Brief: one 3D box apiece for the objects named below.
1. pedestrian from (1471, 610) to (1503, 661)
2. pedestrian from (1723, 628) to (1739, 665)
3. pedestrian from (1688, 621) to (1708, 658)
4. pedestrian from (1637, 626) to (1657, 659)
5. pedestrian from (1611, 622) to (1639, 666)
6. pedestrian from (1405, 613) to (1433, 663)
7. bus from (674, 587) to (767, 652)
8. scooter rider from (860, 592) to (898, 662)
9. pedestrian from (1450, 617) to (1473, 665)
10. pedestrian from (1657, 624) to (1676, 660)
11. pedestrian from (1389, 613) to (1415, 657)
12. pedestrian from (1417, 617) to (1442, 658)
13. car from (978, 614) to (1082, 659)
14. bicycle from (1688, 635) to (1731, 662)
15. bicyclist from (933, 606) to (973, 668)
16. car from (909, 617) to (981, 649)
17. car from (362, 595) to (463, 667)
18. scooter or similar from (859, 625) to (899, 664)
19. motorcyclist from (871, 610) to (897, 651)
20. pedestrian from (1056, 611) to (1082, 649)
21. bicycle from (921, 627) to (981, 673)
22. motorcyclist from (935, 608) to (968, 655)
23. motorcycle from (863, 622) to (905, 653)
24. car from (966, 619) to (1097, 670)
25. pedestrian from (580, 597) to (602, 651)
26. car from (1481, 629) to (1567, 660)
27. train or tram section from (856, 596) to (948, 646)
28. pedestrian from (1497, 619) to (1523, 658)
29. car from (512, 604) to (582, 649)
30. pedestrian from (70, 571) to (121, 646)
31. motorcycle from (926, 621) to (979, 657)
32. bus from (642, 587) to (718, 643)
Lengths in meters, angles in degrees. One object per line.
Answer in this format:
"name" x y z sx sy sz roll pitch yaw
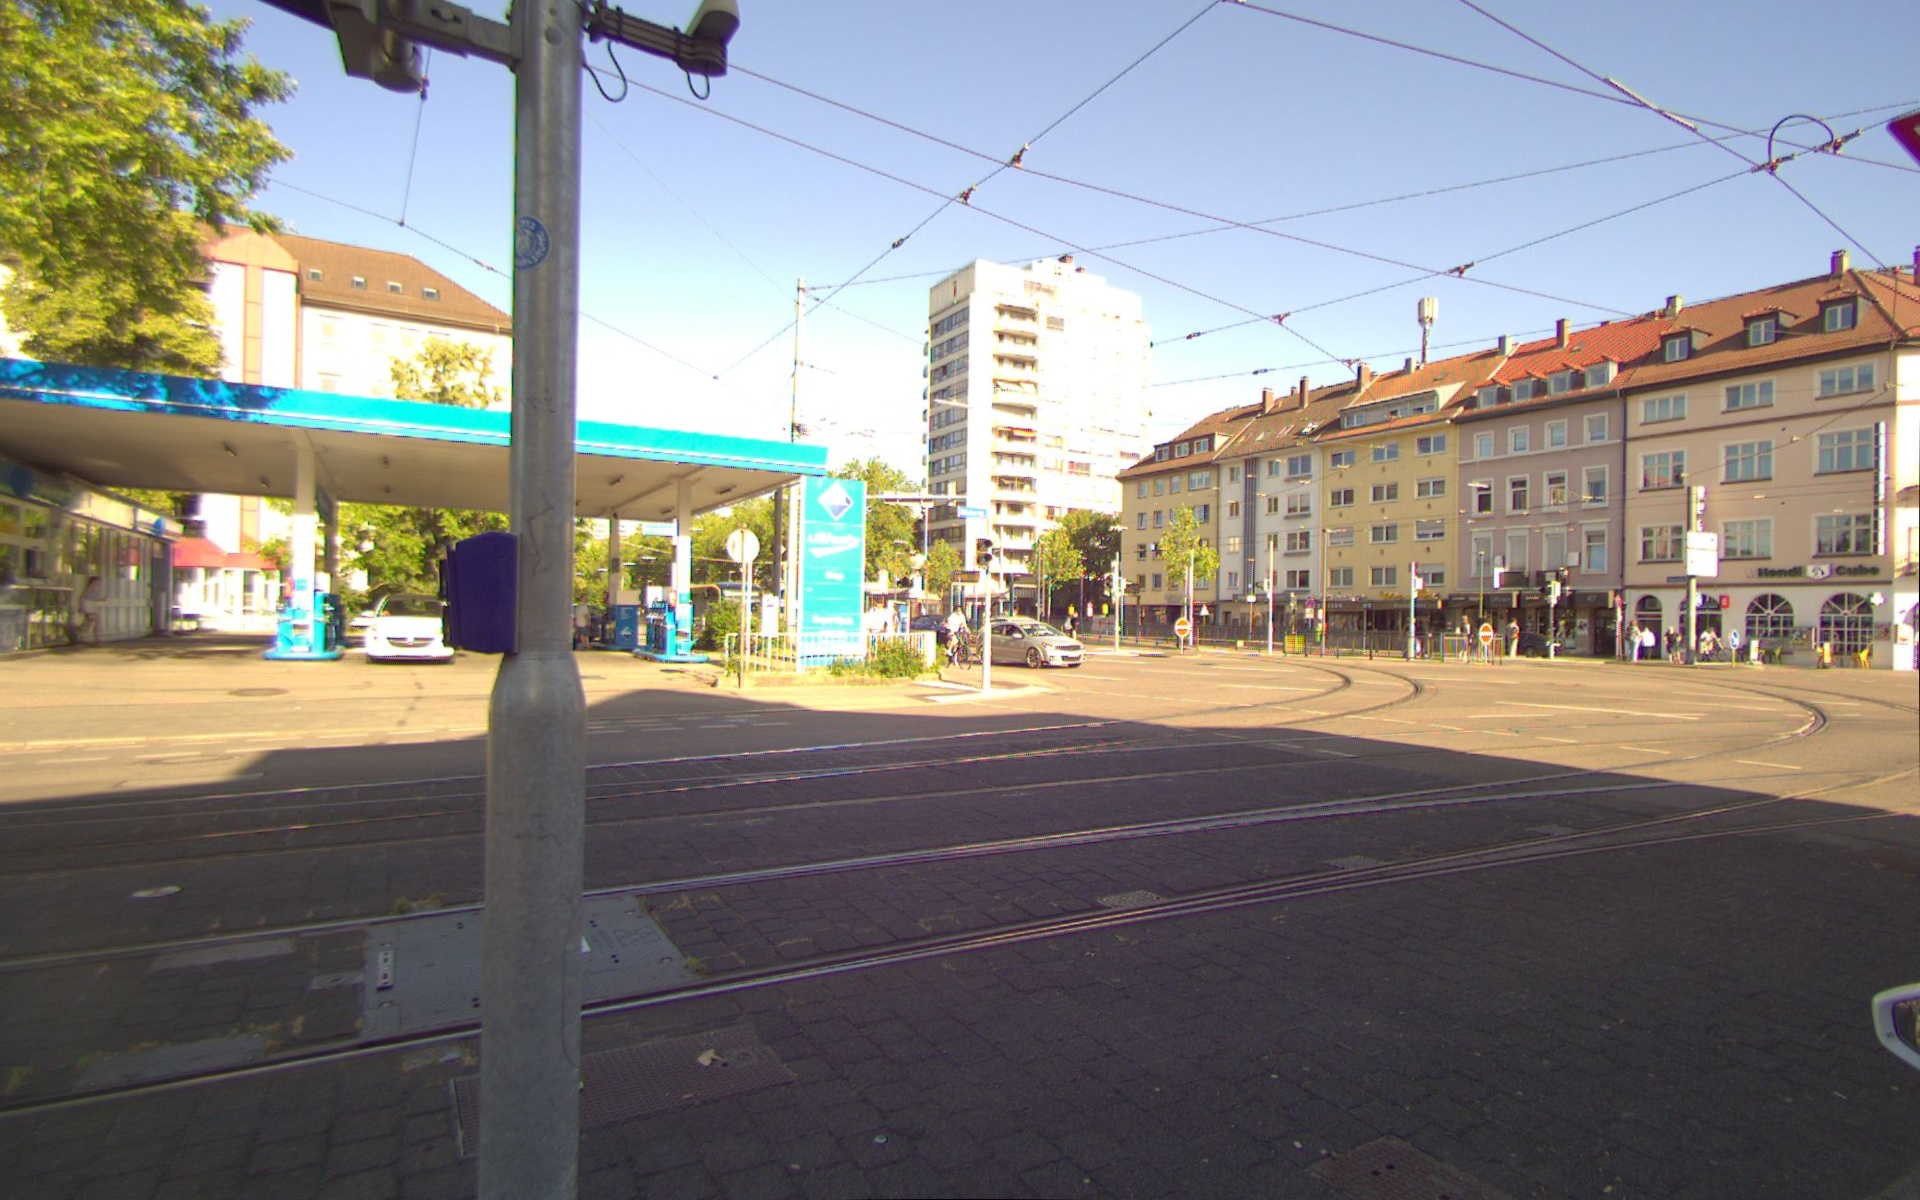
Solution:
"pedestrian" 19.283 1.293 36.755 0.714 1.853 0.763 1 -1 -30
"pedestrian" 26.963 1.631 35.139 0.447 1.270 0.361 1 -1 -41
"pedestrian" 34.548 1.863 47.021 0.731 1.704 0.626 0 -1 35
"pedestrian" 36.095 2.236 52.763 0.623 1.704 0.734 1 -1 -41
"pedestrian" 26.444 1.732 39.937 0.621 1.704 0.737 1 -1 -30
"pedestrian" 17.351 1.422 37.947 0.769 1.874 0.625 1 -1 -30
"bus" -14.353 1.017 59.534 2.748 3.504 9.364 0 1 -31
"scooter rider" -2.284 0.762 28.389 0.788 1.937 0.791 1 0 -30
"pedestrian" 19.156 1.561 38.388 0.553 1.810 0.557 1 -1 -30
"pedestrian" 33.903 2.025 48.177 0.731 1.704 0.626 0 -1 35
"pedestrian" 17.112 1.352 38.897 0.565 1.657 0.737 1 -1 -30
"pedestrian" 18.721 1.501 40.066 0.553 1.602 0.695 1 -1 -30
"car" 2.522 1.306 36.926 1.724 1.518 3.929 1 -1 -35
"bicycle" 37.793 2.445 50.685 1.693 1.293 0.385 0 -1 44
"bicyclist" -0.208 1.041 28.747 0.727 1.735 0.932 1 -1 -37
"car" -0.774 1.529 47.869 1.697 1.439 4.149 1 -1 -28
"car" -12.357 0.664 22.557 1.793 1.461 3.966 1 -1 -31
"scooter or similar" -2.294 1.245 28.347 0.558 1.057 1.424 1 -1 -30
"motorcyclist" -2.911 1.155 38.401 0.654 1.527 0.807 1 -1 -41
"pedestrian" 4.725 1.311 43.588 0.788 1.632 0.766 1 -1 -36
"bicycle" -0.273 1.414 28.893 0.736 1.239 1.909 1 -1 -37
"motorcyclist" -0.321 1.137 36.288 0.810 1.642 0.824 2 0 -41
"motorcycle" -2.919 1.418 38.397 0.500 1.133 2.008 1 -1 -40
"car" 2.139 1.345 31.156 1.725 1.459 4.239 2 -2 -36
"pedestrian" -11.838 0.776 32.261 0.579 1.715 0.756 1 -1 -25
"car" 30.726 2.400 54.768 1.795 1.511 3.715 2 0 -27
"train or tram section" -5.260 1.722 87.557 2.926 3.986 11.589 2 0 -30
"pedestrian" 24.182 1.680 44.151 0.621 1.704 0.763 1 -1 -30
"car" -13.577 0.850 32.878 1.697 1.360 3.970 1 -1 -28
"pedestrian" -20.303 0.205 23.609 0.751 1.715 0.583 1 -1 -28
"motorcycle" -0.290 1.386 36.202 0.689 1.244 2.186 1 -1 -40
"bus" -18.869 0.887 67.279 2.755 3.504 8.571 0 1 -30
